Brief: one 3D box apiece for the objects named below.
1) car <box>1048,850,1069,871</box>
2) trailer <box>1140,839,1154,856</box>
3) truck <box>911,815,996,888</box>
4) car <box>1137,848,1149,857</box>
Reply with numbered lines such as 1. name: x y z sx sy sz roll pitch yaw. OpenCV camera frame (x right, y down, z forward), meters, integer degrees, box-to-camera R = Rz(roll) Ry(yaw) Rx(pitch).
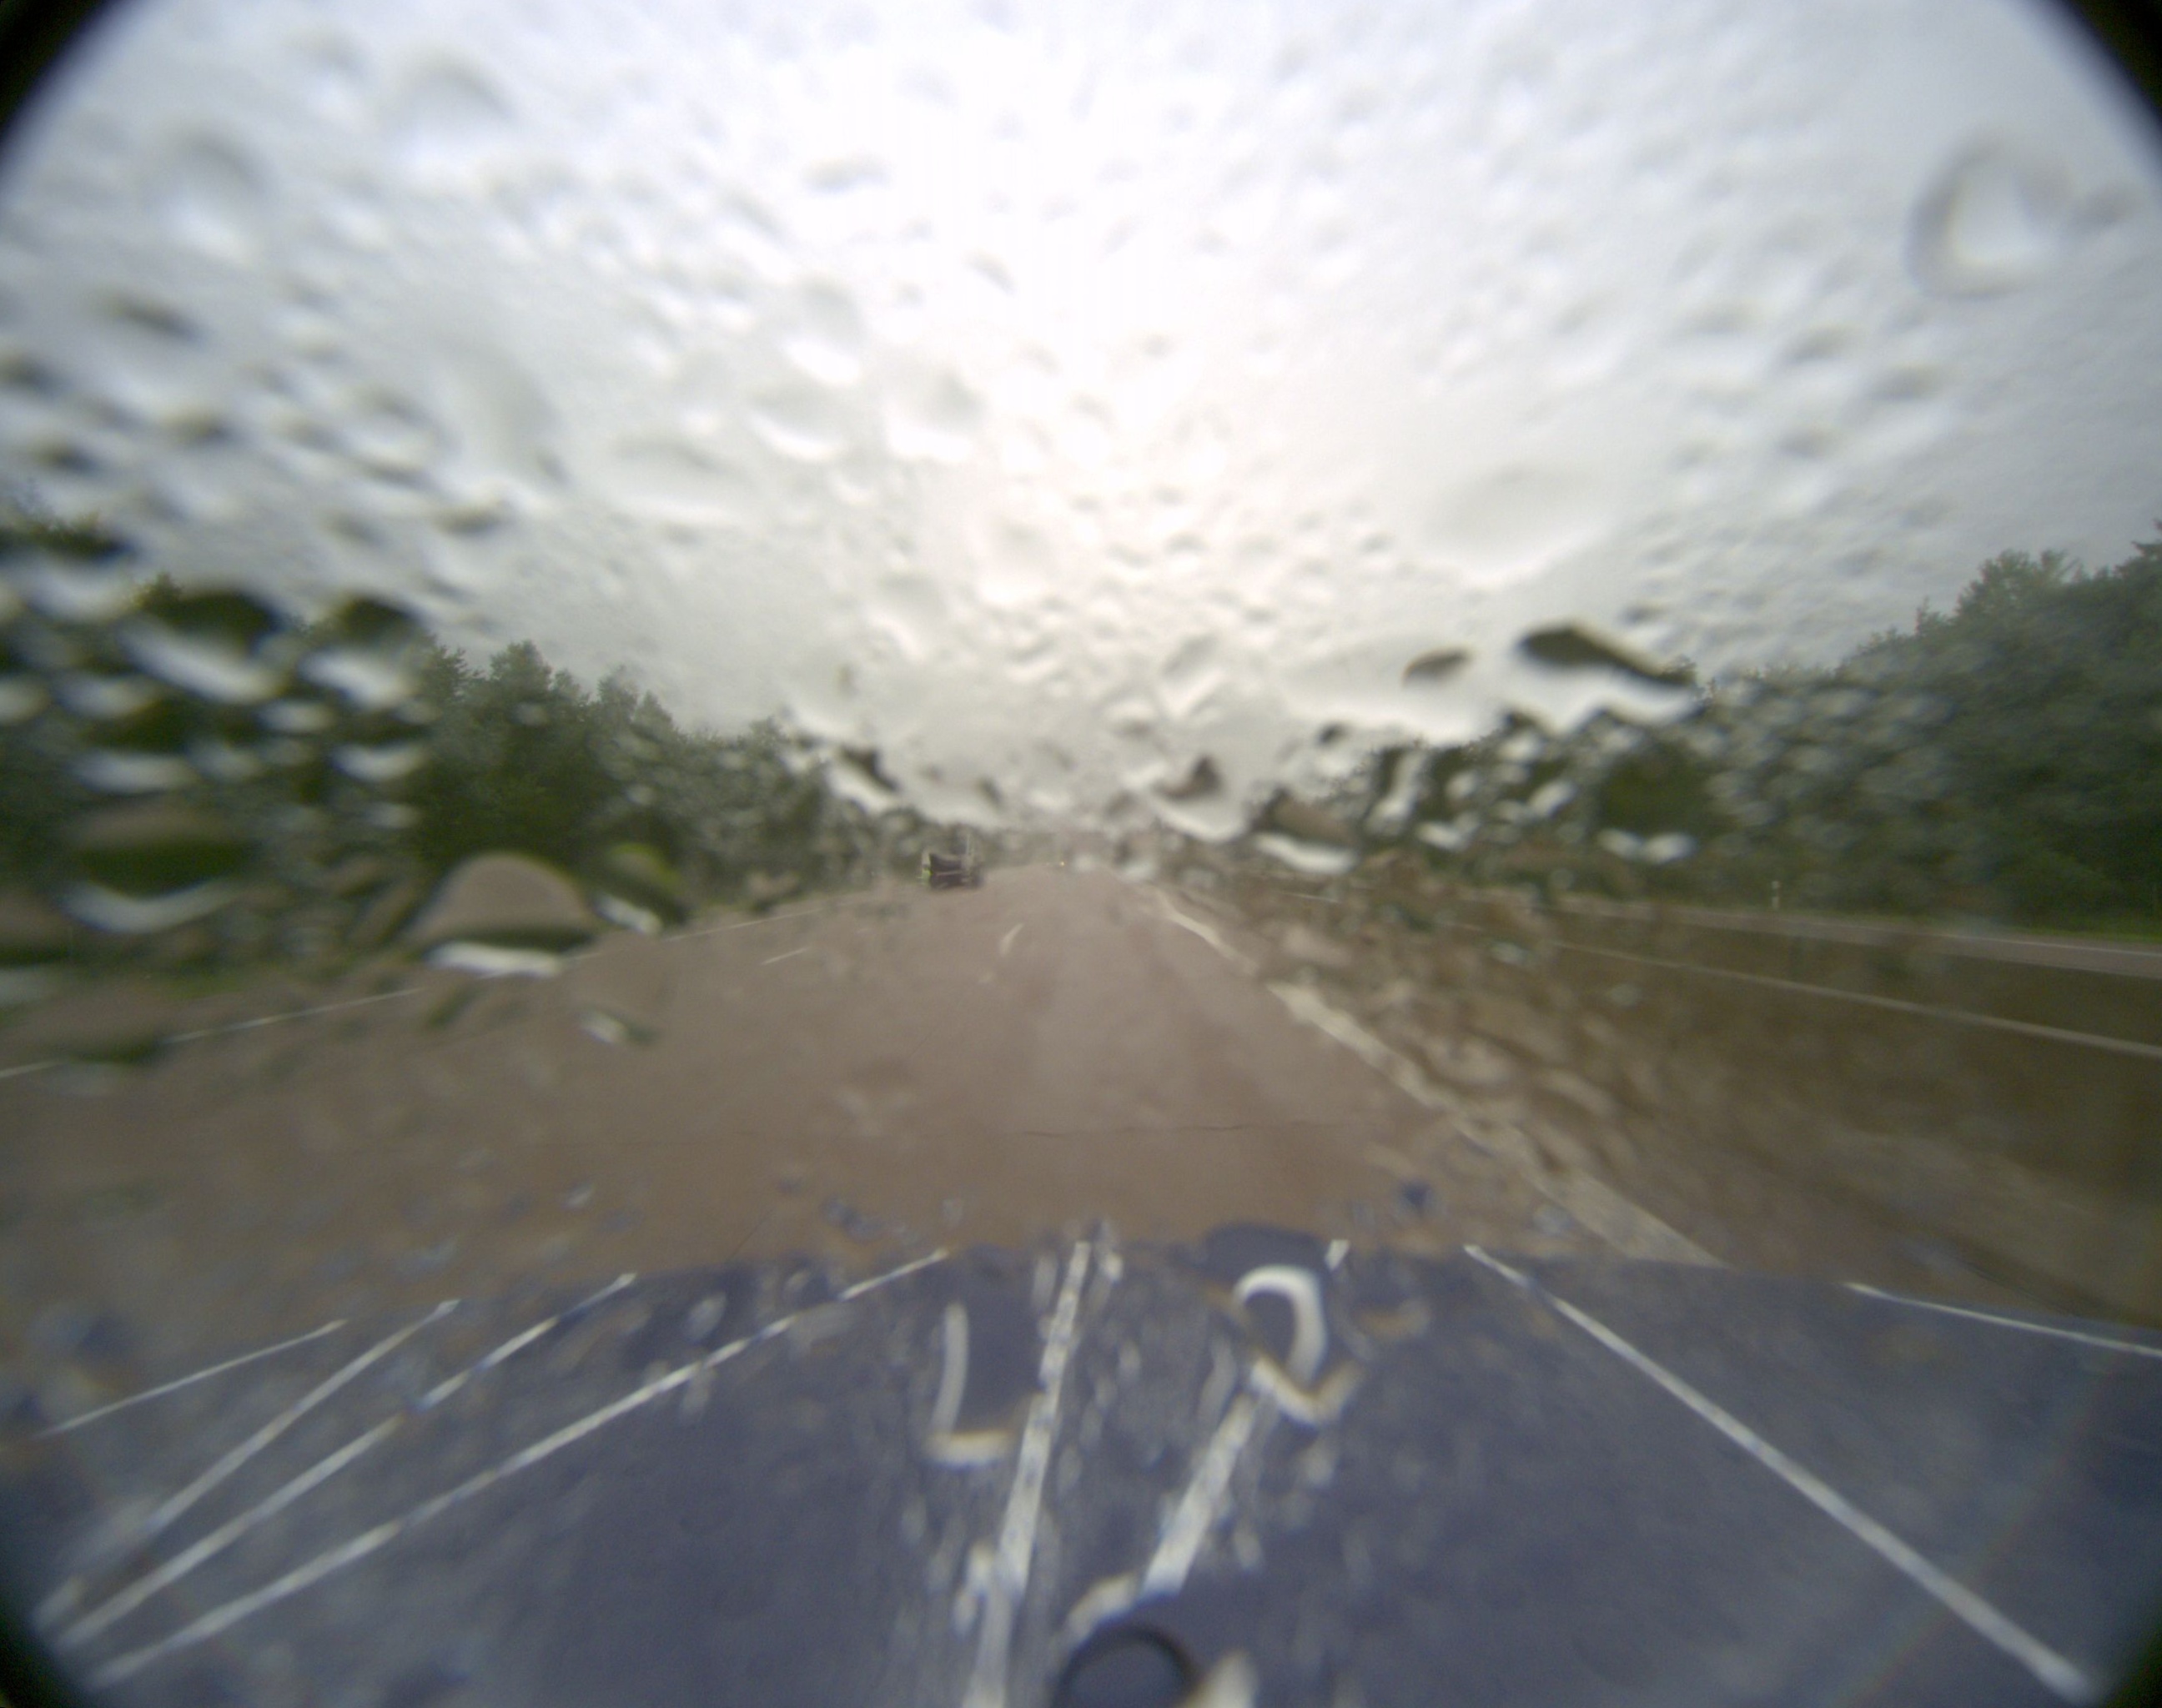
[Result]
1. car: -2.358 0.637 79.538 1.999 2.002 4.276 -2 0 0
2. trailer: 20.039 -1.974 231.060 3.762 4.924 13.686 -2 0 6
3. truck: -7.057 -0.148 43.335 3.242 3.708 7.954 -2 0 1
4. car: 15.094 -0.359 185.709 2.312 2.002 5.662 1 0 0
